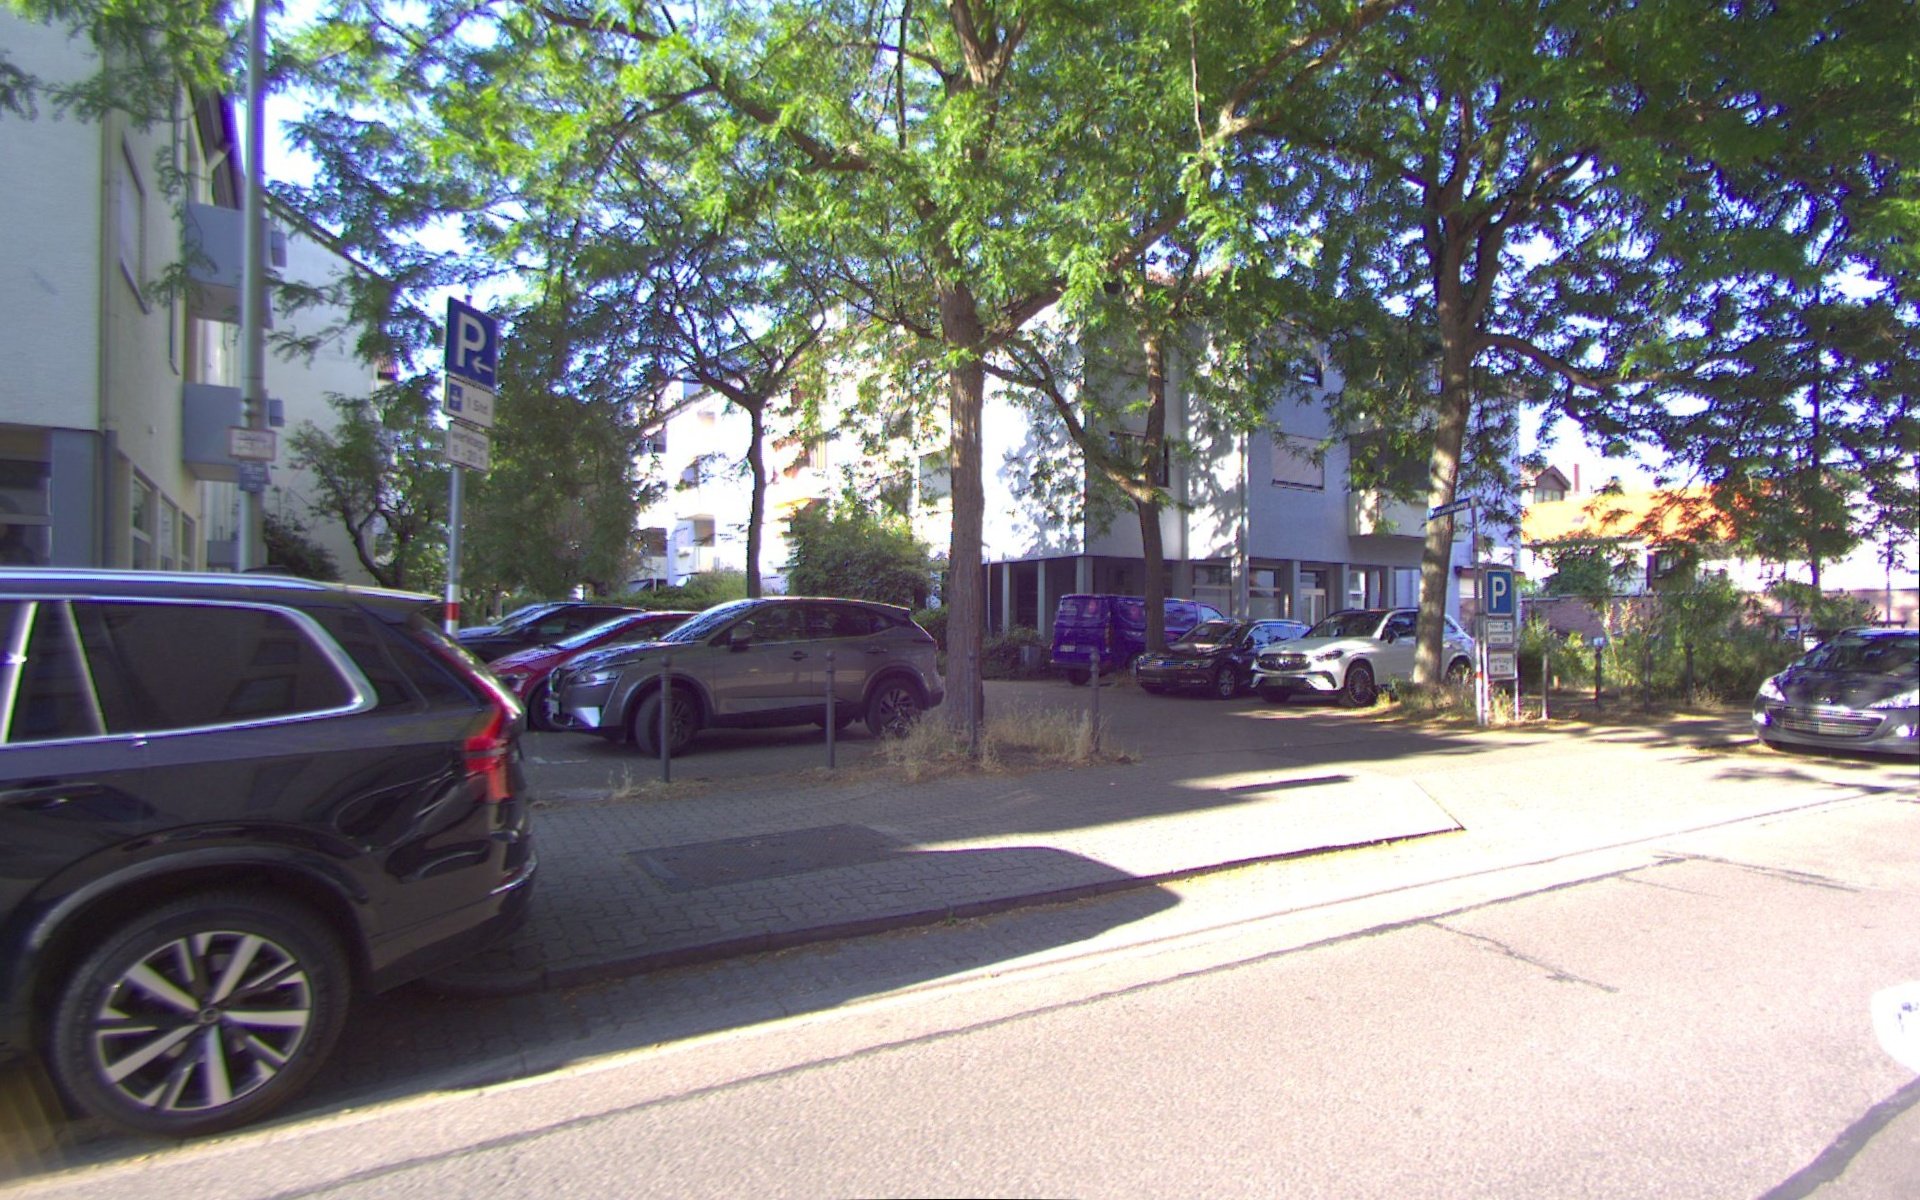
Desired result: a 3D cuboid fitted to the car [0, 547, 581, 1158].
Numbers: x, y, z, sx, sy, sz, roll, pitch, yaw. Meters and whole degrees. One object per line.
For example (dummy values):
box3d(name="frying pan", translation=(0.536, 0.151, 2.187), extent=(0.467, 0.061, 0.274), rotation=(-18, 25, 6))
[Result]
box3d(name="car", translation=(-4.014, 0.679, 3.160), extent=(5.041, 1.728, 1.922), rotation=(1, 1, -30))

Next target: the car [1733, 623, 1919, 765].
box3d(name="car", translation=(11.528, 1.056, 12.477), extent=(3.953, 1.511, 1.689), rotation=(1, -2, -30))

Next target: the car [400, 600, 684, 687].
box3d(name="car", translation=(-8.396, 0.855, 20.337), extent=(5.126, 1.580, 1.929), rotation=(1, -3, -30))

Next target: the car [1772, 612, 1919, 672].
box3d(name="car", translation=(30.638, 1.436, 34.257), extent=(1.974, 1.518, 3.979), rotation=(-4, -7, -27))

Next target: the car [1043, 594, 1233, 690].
box3d(name="car", translation=(4.084, 0.907, 22.746), extent=(4.289, 1.974, 2.000), rotation=(1, -2, -41))

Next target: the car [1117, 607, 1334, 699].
box3d(name="car", translation=(5.131, 0.957, 19.373), extent=(3.767, 1.596, 2.063), rotation=(1, -1, -32))

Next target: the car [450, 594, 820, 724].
box3d(name="car", translation=(-4.159, 0.723, 13.242), extent=(4.390, 1.460, 1.565), rotation=(1, -2, -36))

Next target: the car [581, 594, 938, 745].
box3d(name="car", translation=(-2.171, 0.706, 11.069), extent=(3.593, 1.427, 1.515), rotation=(1, -2, -28))

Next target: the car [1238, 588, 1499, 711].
box3d(name="car", translation=(7.283, 0.795, 17.735), extent=(4.852, 1.920, 1.833), rotation=(0, -1, -33))

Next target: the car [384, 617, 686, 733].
box3d(name="car", translation=(-5.988, 0.993, 14.315), extent=(3.765, 1.459, 1.679), rotation=(1, -2, -28))
